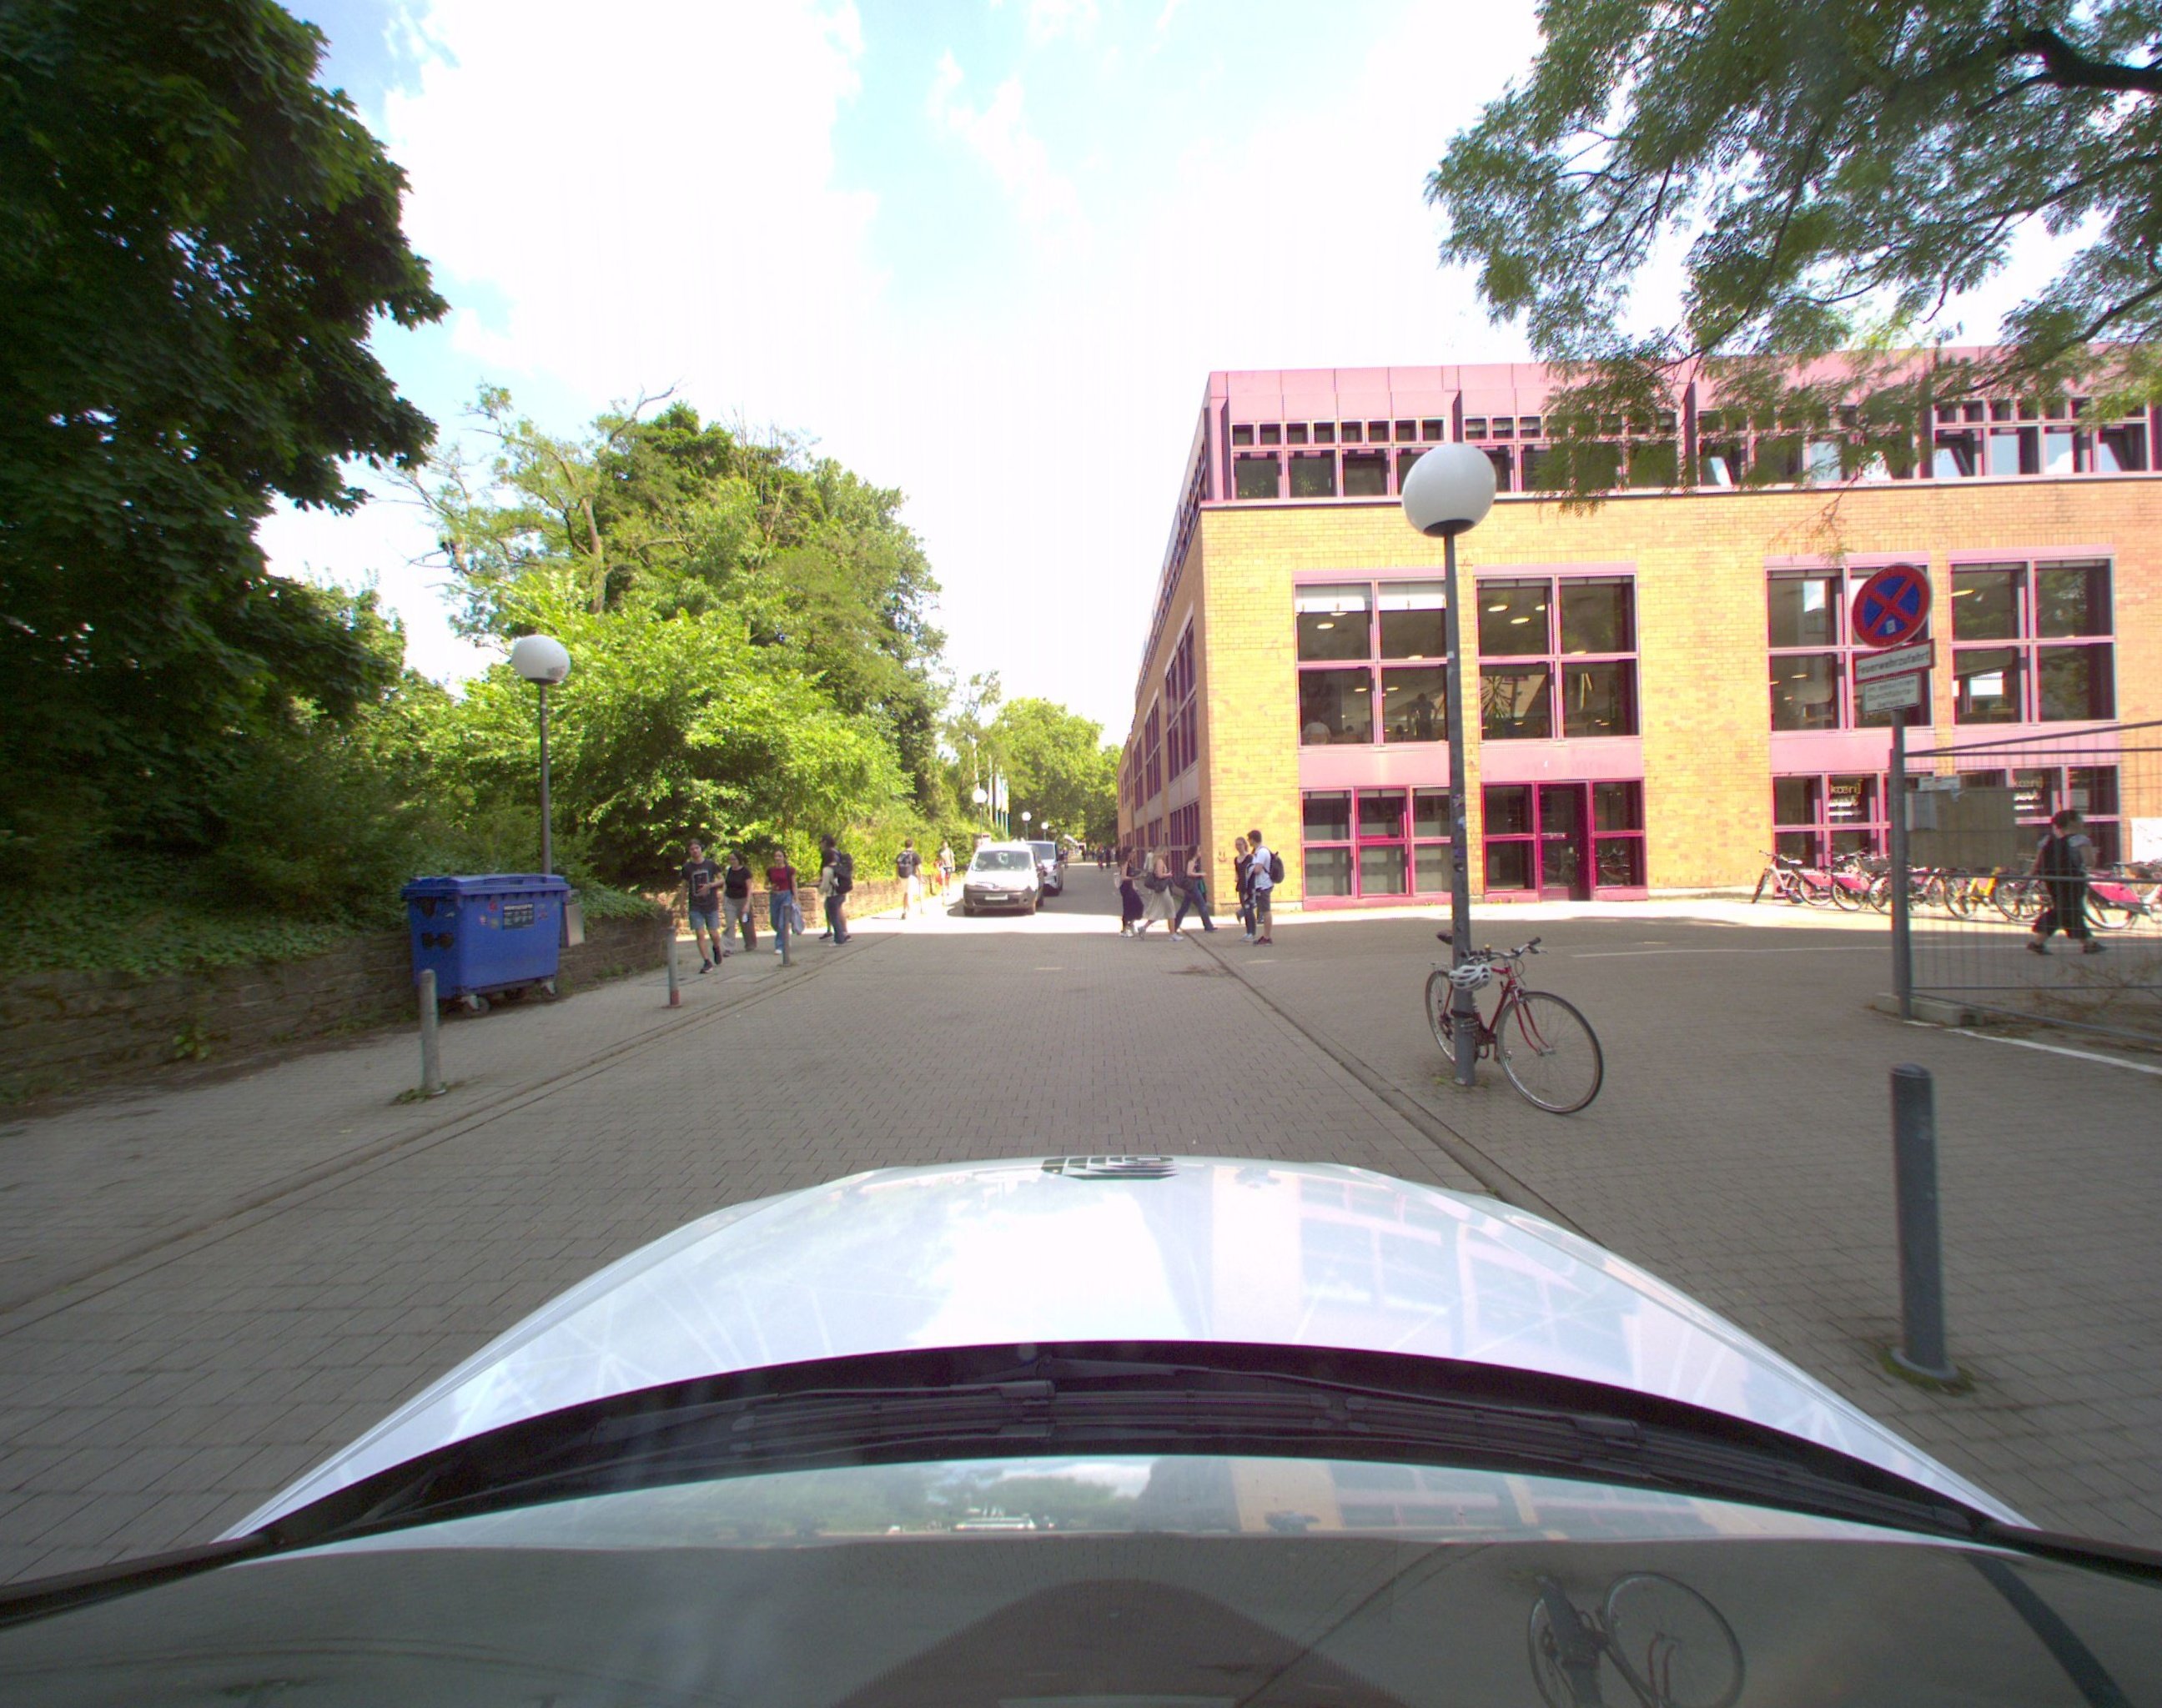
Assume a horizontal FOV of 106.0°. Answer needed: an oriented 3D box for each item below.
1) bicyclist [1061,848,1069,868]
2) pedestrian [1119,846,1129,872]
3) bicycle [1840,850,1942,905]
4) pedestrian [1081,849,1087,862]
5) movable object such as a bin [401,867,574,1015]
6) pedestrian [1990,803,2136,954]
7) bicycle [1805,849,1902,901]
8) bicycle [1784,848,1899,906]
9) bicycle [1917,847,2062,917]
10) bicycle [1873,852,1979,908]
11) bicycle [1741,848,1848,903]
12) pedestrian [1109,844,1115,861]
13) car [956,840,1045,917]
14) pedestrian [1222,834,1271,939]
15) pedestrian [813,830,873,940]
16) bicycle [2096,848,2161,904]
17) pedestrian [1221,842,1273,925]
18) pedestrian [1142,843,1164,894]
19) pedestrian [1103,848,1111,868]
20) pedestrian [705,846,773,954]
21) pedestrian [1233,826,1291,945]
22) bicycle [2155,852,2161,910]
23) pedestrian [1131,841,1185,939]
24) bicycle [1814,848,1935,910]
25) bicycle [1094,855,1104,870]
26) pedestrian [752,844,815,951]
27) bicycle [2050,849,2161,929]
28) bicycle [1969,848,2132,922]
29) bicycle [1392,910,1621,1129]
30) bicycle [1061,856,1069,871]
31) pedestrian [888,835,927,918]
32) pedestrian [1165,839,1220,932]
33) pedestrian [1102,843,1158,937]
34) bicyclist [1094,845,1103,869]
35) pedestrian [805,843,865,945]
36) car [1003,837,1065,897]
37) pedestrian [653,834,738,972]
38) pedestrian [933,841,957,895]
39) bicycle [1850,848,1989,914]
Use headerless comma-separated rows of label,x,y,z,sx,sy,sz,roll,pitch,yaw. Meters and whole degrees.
bicyclist,-1.218,0.310,62.551,0.585,1.573,0.828,-1,0,-3
pedestrian,2.901,0.352,54.461,0.584,1.672,0.699,-3,-1,2
bicycle,16.980,0.486,17.076,1.803,1.110,0.473,0,0,-6
pedestrian,0.385,0.214,104.931,0.722,1.672,0.748,-3,-1,2
movable object such as a bin,-5.946,0.819,8.238,0.705,1.336,1.243,1,0,11
pedestrian,11.113,0.278,9.242,0.847,1.651,0.589,-1,-1,8
bicycle,16.890,0.457,17.811,1.803,1.110,0.473,0,0,-6
bicycle,15.080,0.450,16.173,1.803,1.110,0.523,0,0,-1
bicycle,14.850,0.454,13.331,1.803,1.110,0.523,0,0,-1
bicycle,17.114,0.517,16.503,1.803,1.110,0.473,0,0,-6
bicycle,14.897,0.443,17.024,1.804,1.110,0.523,0,0,-1
pedestrian,3.593,-0.171,94.792,0.651,1.922,0.818,-3,-1,2
car,-1.981,0.558,21.336,1.784,1.761,4.482,-2,0,1
pedestrian,2.745,0.535,13.567,0.692,1.672,0.589,-3,-1,8
pedestrian,-4.130,0.524,14.176,0.823,1.844,0.684,-1,-1,-2
bicycle,22.758,0.457,17.239,1.990,1.169,0.474,0,0,-1
pedestrian,3.261,0.566,16.059,0.881,1.542,0.744,-3,0,8
pedestrian,2.499,0.503,28.292,0.680,1.747,0.783,-1,-1,1
pedestrian,2.184,0.351,68.132,0.584,1.672,0.818,-3,-1,2
pedestrian,-5.377,0.698,12.850,0.681,1.620,0.977,-1,-1,-4
pedestrian,2.834,0.491,12.835,0.762,1.794,0.589,-3,-1,8
bicycle,22.735,0.549,16.268,1.990,1.169,0.474,0,0,-1
pedestrian,1.361,0.621,14.289,0.881,1.672,0.560,-1,-1,8
bicycle,14.685,0.461,15.087,1.805,1.110,0.523,0,0,-3
bicycle,1.303,0.647,60.160,0.585,1.083,1.906,-1,0,-3
pedestrian,-4.681,0.664,12.846,0.681,1.620,0.912,-1,-1,-4
bicycle,14.905,0.483,11.546,1.686,1.110,0.474,0,0,4
bicycle,15.049,0.474,12.668,1.801,1.110,0.524,0,0,4
bicycle,2.510,0.908,5.039,0.449,0.962,1.740,-4,0,0
bicycle,-1.220,0.699,62.586,0.585,1.083,1.812,-1,0,-3
pedestrian,-3.947,0.496,18.576,0.680,1.844,0.783,-1,-1,1
pedestrian,2.075,0.581,15.145,0.924,1.672,0.589,-2,-1,8
pedestrian,0.924,0.654,15.121,0.881,1.672,0.645,-3,1,8
bicyclist,1.290,0.239,60.175,0.585,1.716,0.665,-1,0,-3
pedestrian,-4.051,0.651,13.450,0.778,1.620,0.684,-1,-1,-2
car,-1.650,0.423,30.163,1.877,1.974,5.215,-2,0,1
pedestrian,-5.112,0.623,10.850,0.681,1.728,1.019,-1,-1,-4
pedestrian,-4.728,0.473,28.386,0.680,1.844,0.783,-1,-1,1
bicycle,14.585,0.460,14.192,1.801,1.110,0.524,0,0,4
